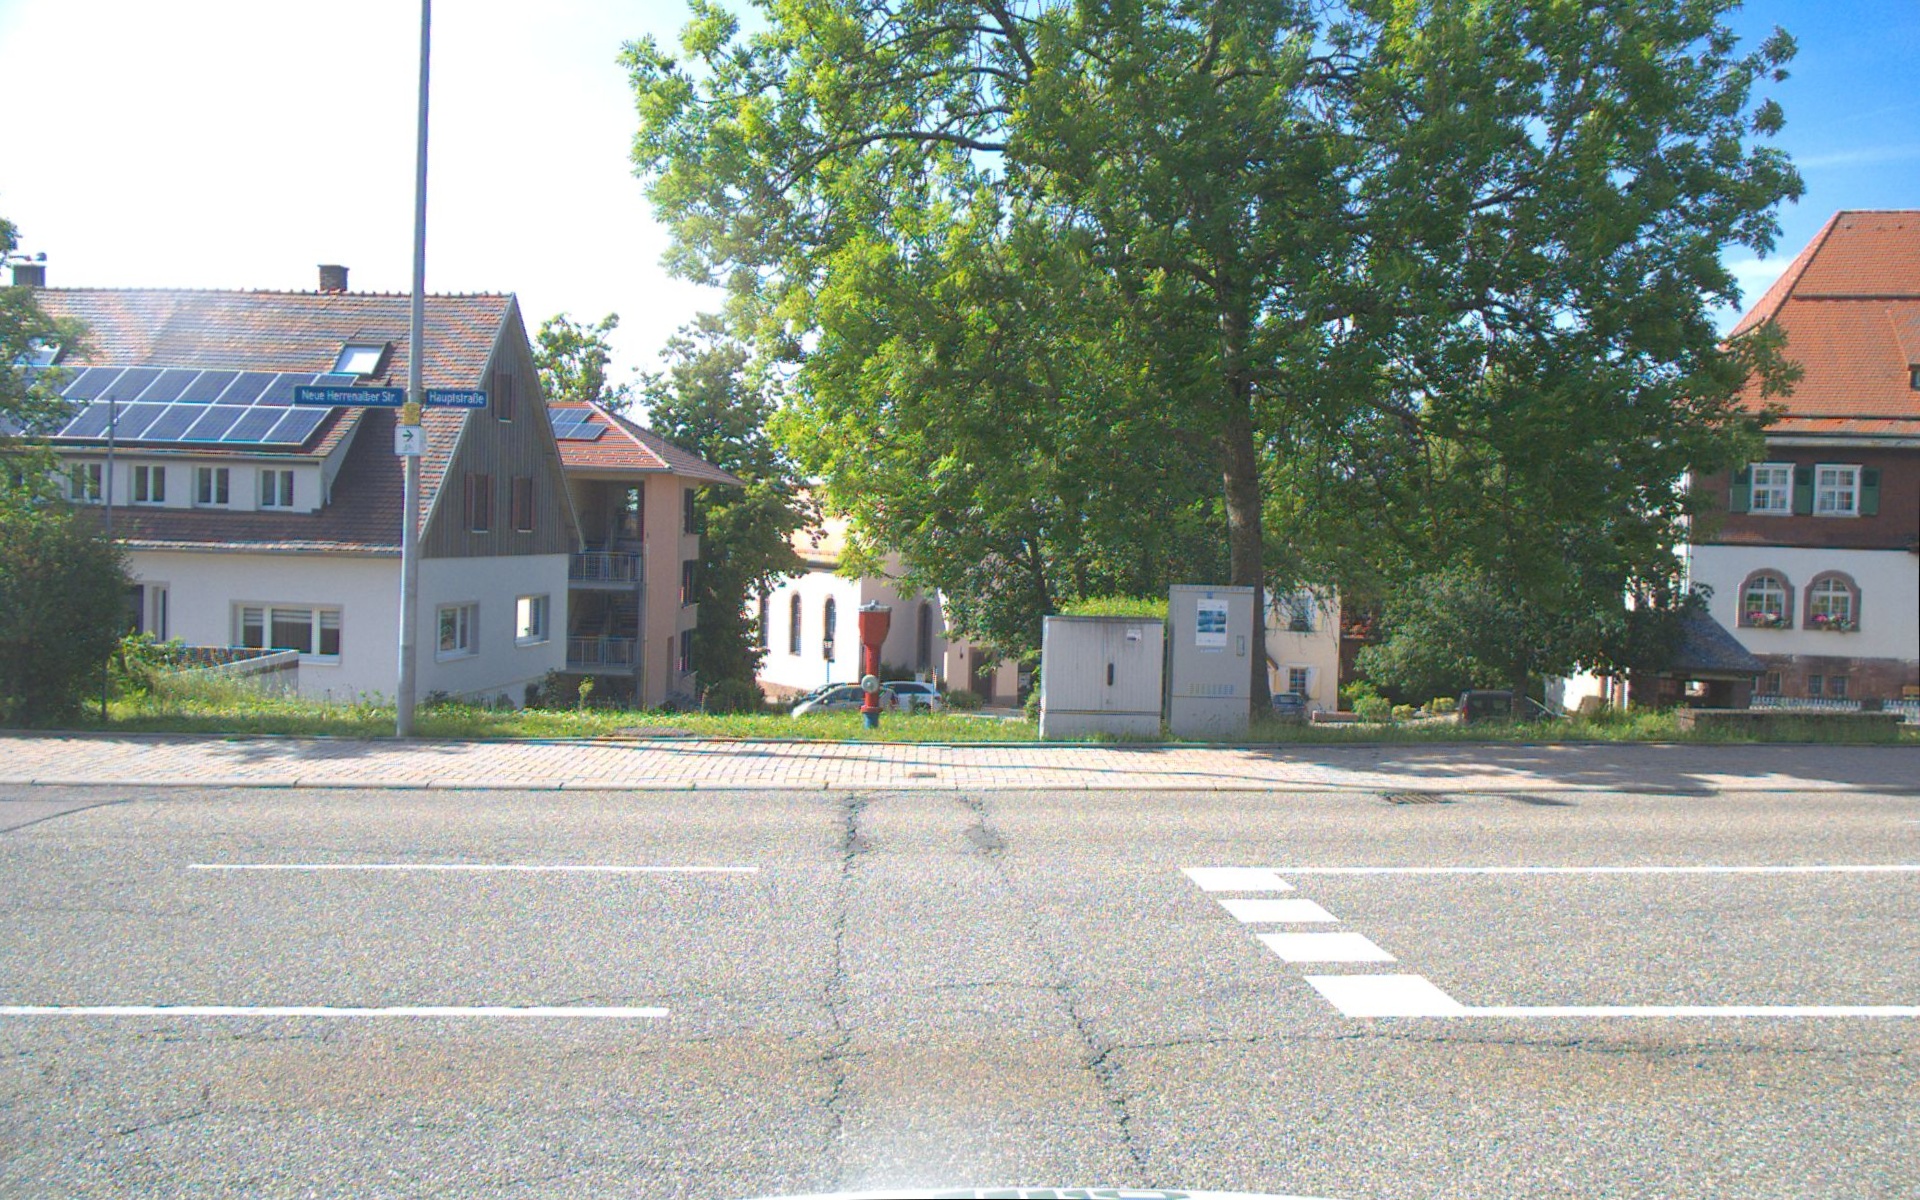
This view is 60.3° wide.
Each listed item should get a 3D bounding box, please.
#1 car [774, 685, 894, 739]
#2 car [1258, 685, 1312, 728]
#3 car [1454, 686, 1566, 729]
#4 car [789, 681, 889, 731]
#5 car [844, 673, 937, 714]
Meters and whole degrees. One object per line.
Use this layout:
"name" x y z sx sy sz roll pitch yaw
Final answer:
"car" -4.309 3.819 56.660 4.011 1.789 1.712 0 -2 -5
"car" 13.079 4.261 66.802 1.672 1.569 3.787 0 -1 4
"car" 20.087 3.913 60.541 3.692 1.470 1.715 0 -2 12
"car" -4.567 3.978 62.440 3.700 1.789 1.711 0 -2 -6
"car" -2.841 3.797 67.478 3.700 1.621 1.711 0 -2 -6
